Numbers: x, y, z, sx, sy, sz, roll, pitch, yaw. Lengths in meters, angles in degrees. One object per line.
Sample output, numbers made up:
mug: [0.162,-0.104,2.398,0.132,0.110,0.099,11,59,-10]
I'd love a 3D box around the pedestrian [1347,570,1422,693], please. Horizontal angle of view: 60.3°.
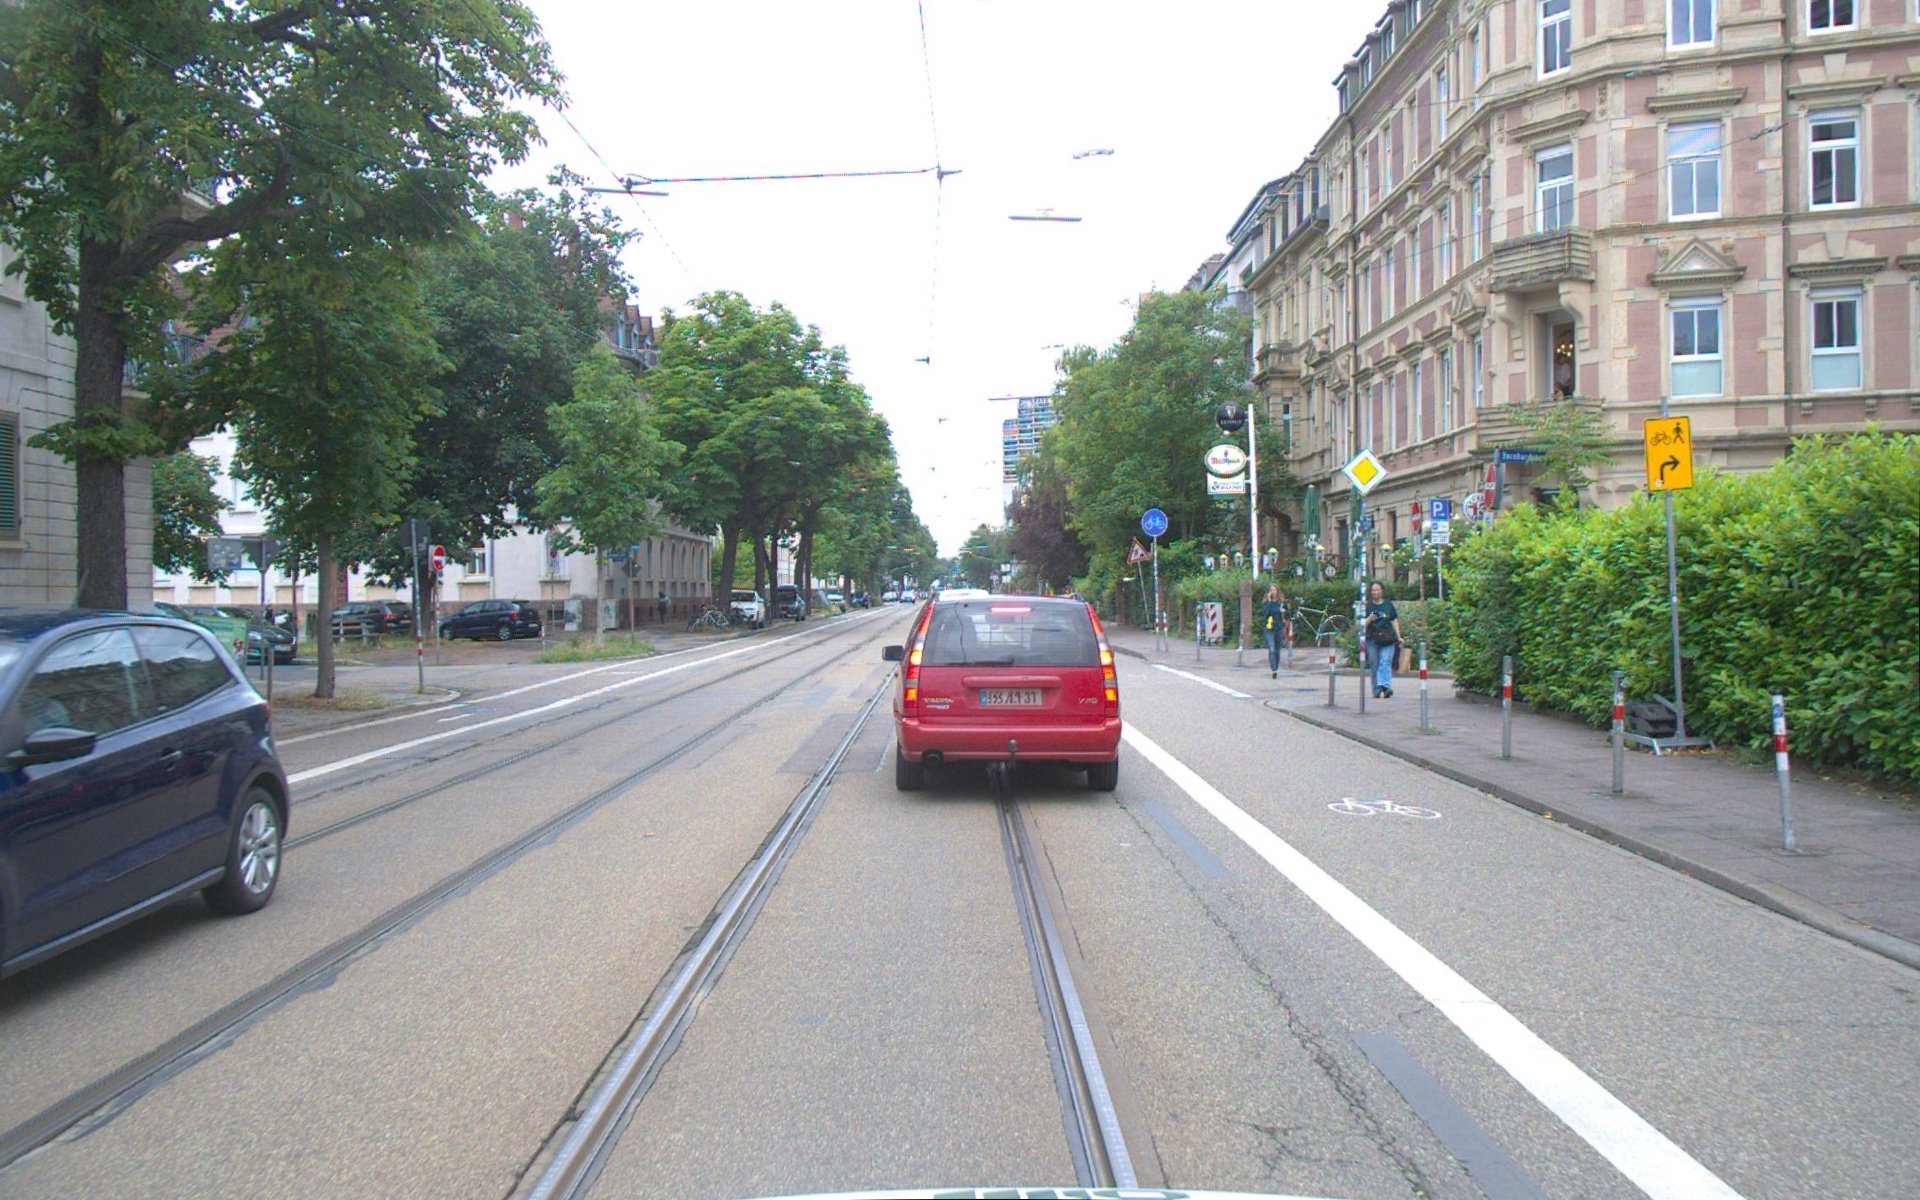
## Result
pedestrian: [5.953,0.437,23.215,0.777,1.665,0.836,-2,0,0]

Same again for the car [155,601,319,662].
car: [-17.963,0.750,41.043,3.980,1.435,1.659,0,0,29]

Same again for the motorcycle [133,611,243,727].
motorcycle: [-9.228,0.787,19.851,0.529,1.279,2.139,-1,0,-7]

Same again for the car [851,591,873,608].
car: [-9.236,-0.070,156.359,1.813,1.590,3.942,0,0,0]

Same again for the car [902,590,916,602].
car: [-6.273,-0.526,203.070,1.720,1.404,4.026,-1,0,-1]

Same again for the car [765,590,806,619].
car: [-9.377,0.204,89.329,1.741,1.537,4.238,0,0,0]

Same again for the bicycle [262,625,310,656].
bicycle: [-21.142,1.275,51.876,1.637,0.941,0.448,-1,1,28]

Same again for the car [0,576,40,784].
car: [-8.744,0.645,11.872,1.800,1.690,4.293,2,1,0]

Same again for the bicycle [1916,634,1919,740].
bicycle: [6.197,0.786,9.226,0.620,1.147,1.812,-3,1,-1]

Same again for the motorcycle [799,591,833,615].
motorcycle: [-9.689,0.199,111.177,2.226,1.538,0.923,-1,-2,35]

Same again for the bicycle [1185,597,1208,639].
bicycle: [6.251,0.461,43.772,0.295,1.060,1.848,-1,0,-1]

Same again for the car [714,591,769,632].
car: [-9.239,0.473,70.185,1.859,1.684,4.224,0,0,-2]

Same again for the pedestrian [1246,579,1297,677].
pedestrian: [5.459,0.477,28.951,0.854,1.685,0.909,-1,0,12]

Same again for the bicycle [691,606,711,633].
bicycle: [-9.487,0.717,60.681,0.473,0.975,1.398,-1,0,2]

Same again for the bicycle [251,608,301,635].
bicycle: [-27.614,0.864,66.775,2.141,1.053,0.653,0,0,27]

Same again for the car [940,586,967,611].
car: [-0.461,-0.093,112.324,1.706,1.634,3.998,0,0,-2]

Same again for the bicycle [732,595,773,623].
bicycle: [-9.494,0.418,75.595,1.706,1.213,0.653,1,0,14]

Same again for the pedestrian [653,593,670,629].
pedestrian: [-12.375,0.459,68.691,0.553,1.493,0.722,-1,0,0]

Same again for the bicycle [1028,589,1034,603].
bicycle: [7.145,-0.426,167.176,0.540,1.424,1.734,-1,0,0]

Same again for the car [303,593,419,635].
car: [-21.977,0.508,60.656,3.852,1.489,1.706,0,0,23]

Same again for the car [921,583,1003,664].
car: [0.093,0.469,35.873,1.683,1.653,3.942,0,0,1]

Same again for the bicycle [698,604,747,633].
bicycle: [-9.534,0.749,66.490,1.883,1.140,0.624,1,0,-1]

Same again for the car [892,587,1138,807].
car: [0.356,0.642,13.031,1.654,1.466,3.742,0,1,-1]

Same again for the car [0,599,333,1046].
car: [-3.986,0.738,6.462,1.694,1.433,3.655,-1,0,-1]

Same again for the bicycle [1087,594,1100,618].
bicycle: [6.000,0.252,74.373,0.469,1.063,1.531,-1,0,0]

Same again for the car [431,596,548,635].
car: [-16.536,0.546,58.193,3.673,1.330,1.741,-1,0,23]

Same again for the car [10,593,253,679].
car: [-17.203,0.734,34.386,4.407,1.692,1.940,-1,0,18]

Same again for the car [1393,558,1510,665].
car: [9.546,0.189,32.453,2.008,1.910,5.033,-1,0,15]

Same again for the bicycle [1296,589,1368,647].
bicycle: [8.467,0.413,37.670,1.570,1.299,0.513,-1,0,11]
